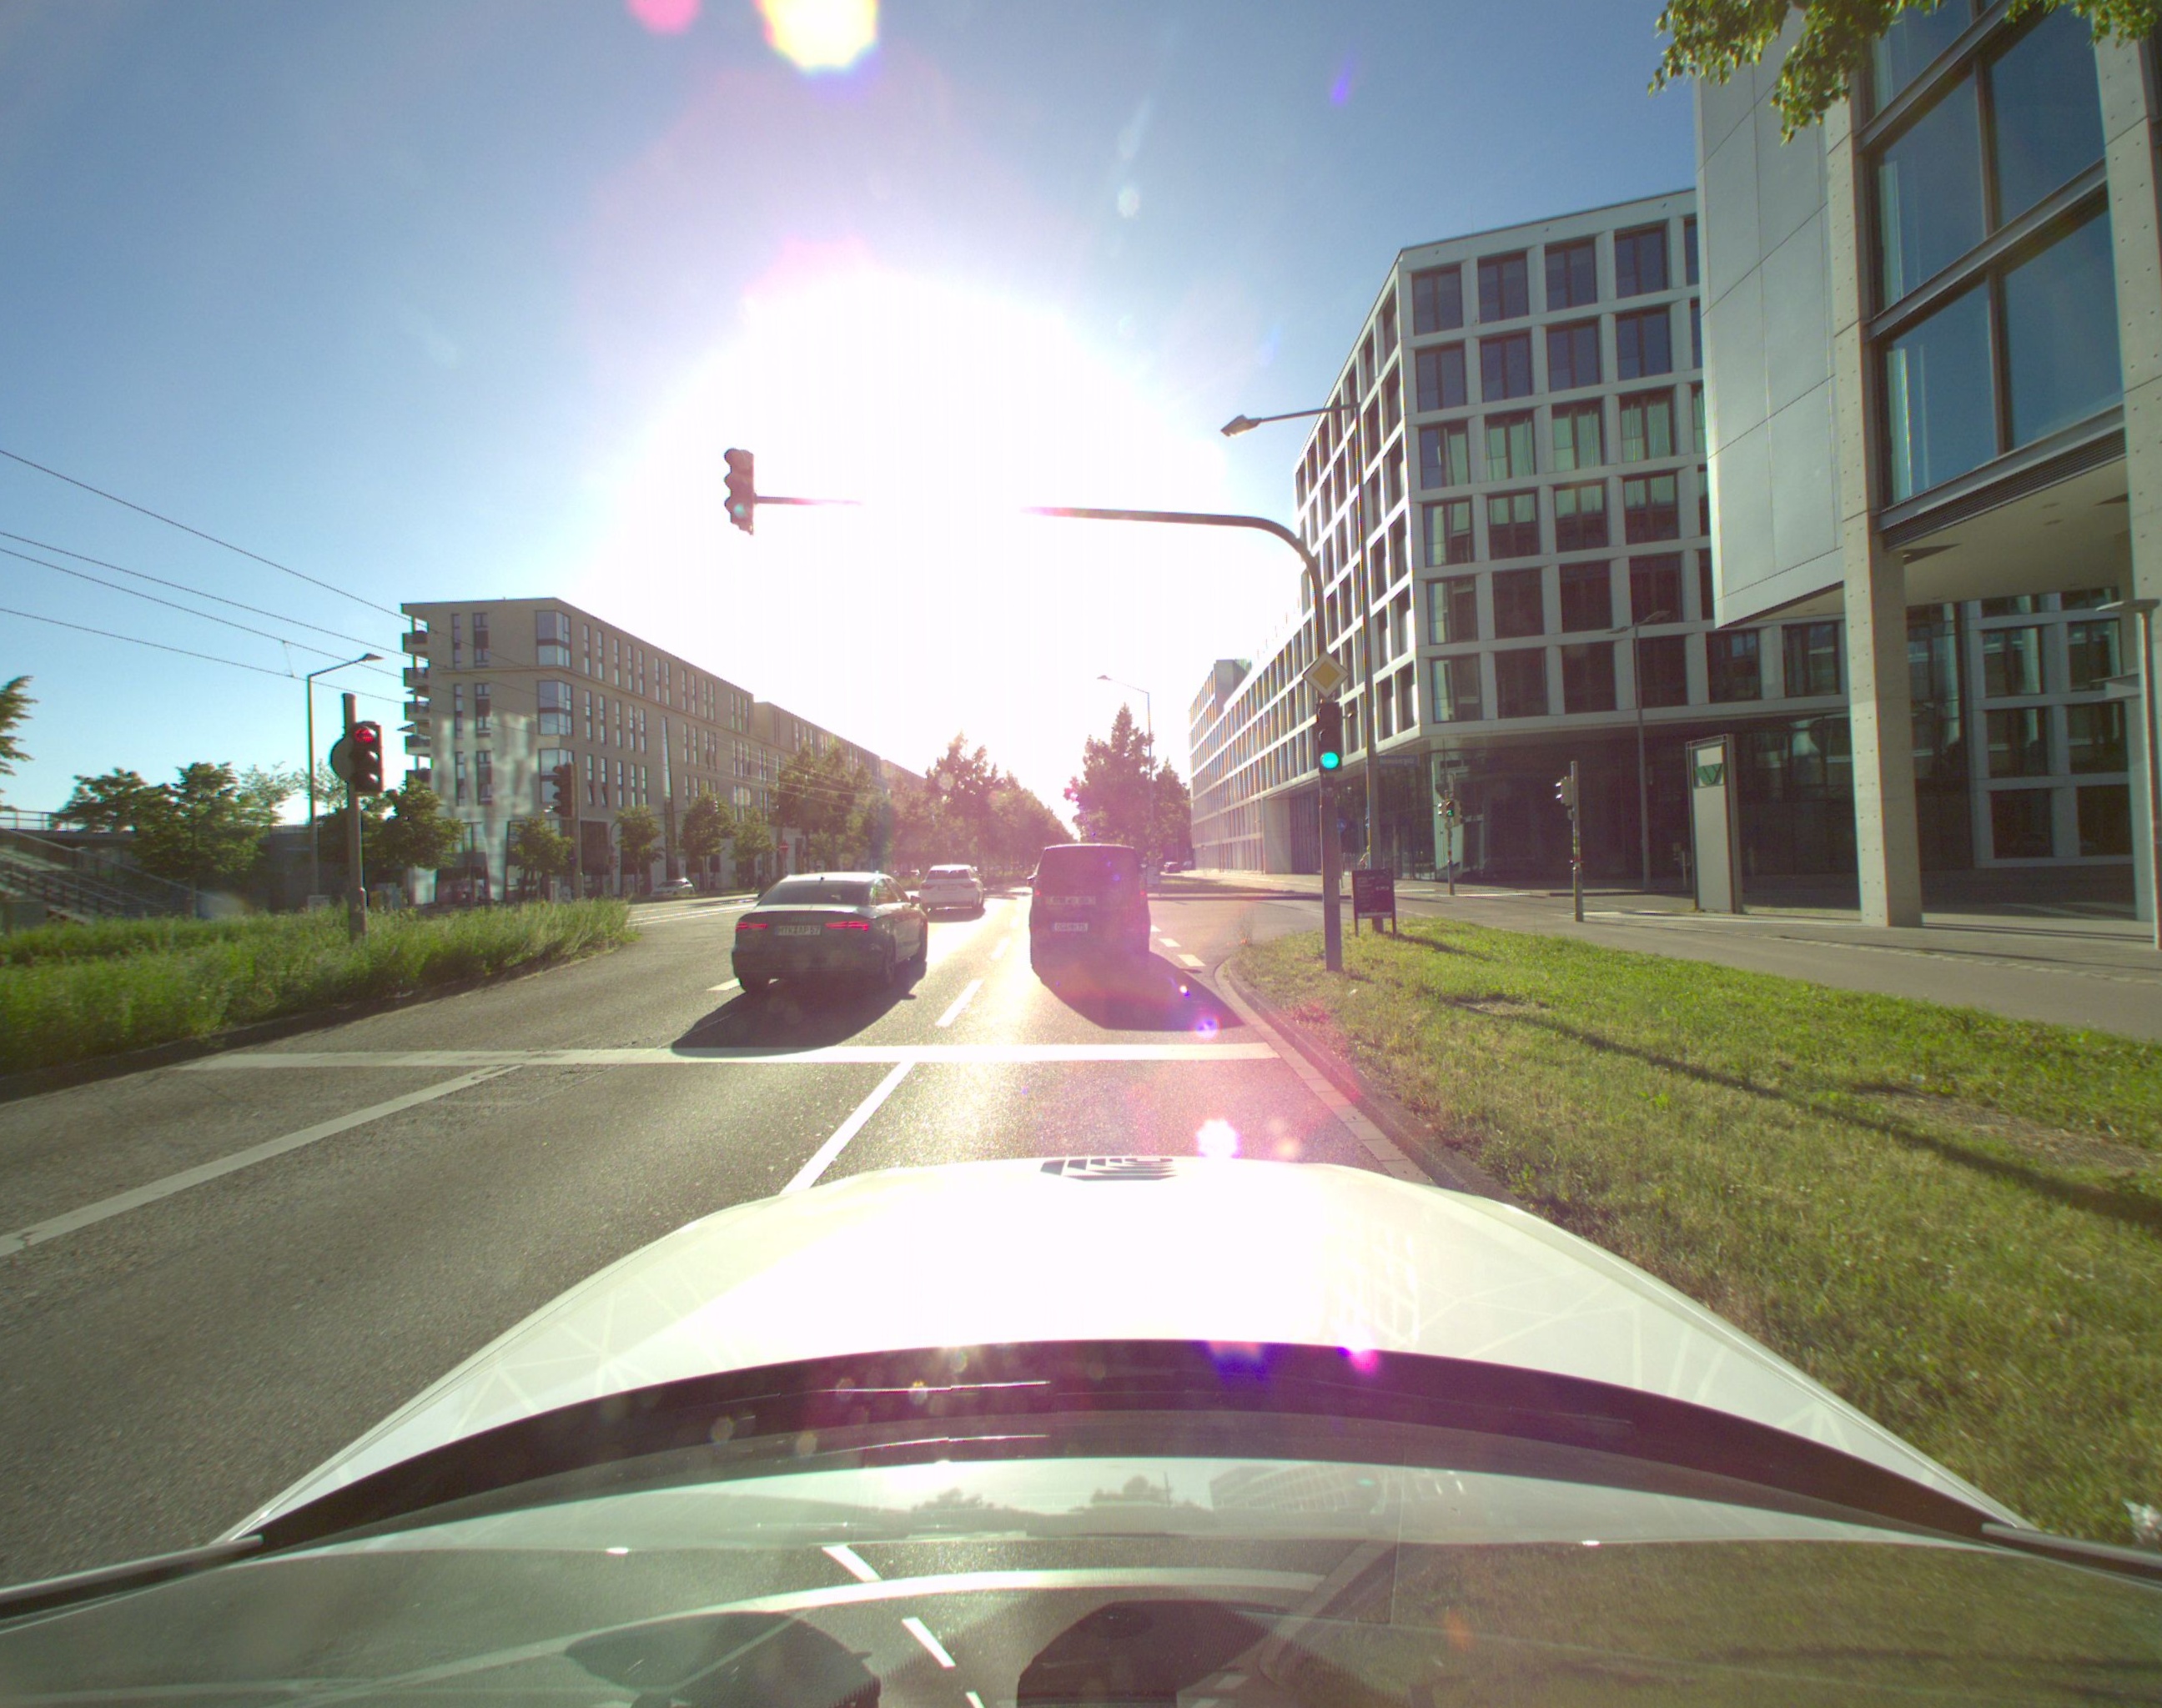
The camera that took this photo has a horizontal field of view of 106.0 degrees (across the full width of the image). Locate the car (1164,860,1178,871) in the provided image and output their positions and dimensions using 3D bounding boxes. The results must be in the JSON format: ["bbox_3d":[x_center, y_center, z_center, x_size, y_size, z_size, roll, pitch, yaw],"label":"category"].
[{"bbox_3d":[13.106,1.694,118.978,1.811,1.532,3.441,-2,-1,5],"label":"car"}]

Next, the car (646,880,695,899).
[{"bbox_3d":[-32.665,2.827,64.981,1.574,1.342,4.472,-2,-1,1],"label":"car"}]

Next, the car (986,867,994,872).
[{"bbox_3d":[-28.242,4.726,252.839,1.749,1.574,4.000,-2,-1,1],"label":"car"}]

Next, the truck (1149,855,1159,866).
[{"bbox_3d":[16.482,1.515,184.744,1.825,2.501,5.932,-2,-1,1],"label":"truck"}]

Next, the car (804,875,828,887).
[{"bbox_3d":[-31.772,3.225,97.870,1.574,1.342,3.712,-2,-1,1],"label":"car"}]

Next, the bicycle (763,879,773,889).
[{"bbox_3d":[-36.814,3.483,95.677,0.526,1.111,1.637,-1,-1,0],"label":"bicycle"}]

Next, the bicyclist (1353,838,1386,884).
[{"bbox_3d":[10.062,0.244,28.428,0.768,1.531,0.850,-3,-1,1],"label":"bicyclist"}]

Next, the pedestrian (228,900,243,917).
[{"bbox_3d":[-59.673,3.841,57.500,0.437,1.125,0.600,-1,-1,3],"label":"pedestrian"}]

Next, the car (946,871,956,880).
[{"bbox_3d":[-29.612,4.873,185.812,1.724,2.013,3.998,-2,0,-1],"label":"car"}]

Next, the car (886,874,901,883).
[{"bbox_3d":[-31.249,4.060,135.988,1.574,1.342,3.712,-2,-1,1],"label":"car"}]

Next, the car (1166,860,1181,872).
[{"bbox_3d":[12.854,1.630,113.777,1.751,1.611,3.906,-2,-1,3],"label":"car"}]

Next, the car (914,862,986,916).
[{"bbox_3d":[-3.947,1.012,25.076,1.805,1.434,4.106,-2,-1,-5],"label":"car"}]

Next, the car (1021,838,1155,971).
[{"bbox_3d":[0.173,0.720,13.400,1.801,1.794,4.115,-2,-1,2],"label":"car"}]

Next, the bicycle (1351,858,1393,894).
[{"bbox_3d":[10.108,0.748,28.361,0.739,1.174,1.962,-2,-1,1],"label":"bicycle"}]

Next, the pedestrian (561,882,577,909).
[{"bbox_3d":[-35.160,2.826,55.920,0.577,1.812,0.799,-1,-1,-3],"label":"pedestrian"}]

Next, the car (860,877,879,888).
[{"bbox_3d":[-31.980,4.263,123.191,1.770,1.528,3.806,-2,-1,1],"label":"car"}]

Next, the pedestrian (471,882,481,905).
[{"bbox_3d":[-47.076,3.047,63.350,0.603,1.771,0.665,0,-2,-35],"label":"pedestrian"}]

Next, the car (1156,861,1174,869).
[{"bbox_3d":[15.748,1.968,152.563,3.380,1.358,1.474,-2,-1,7],"label":"car"}]

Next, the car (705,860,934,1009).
[{"bbox_3d":[-3.204,0.888,10.881,1.803,1.527,4.109,-2,-1,-2],"label":"car"}]
